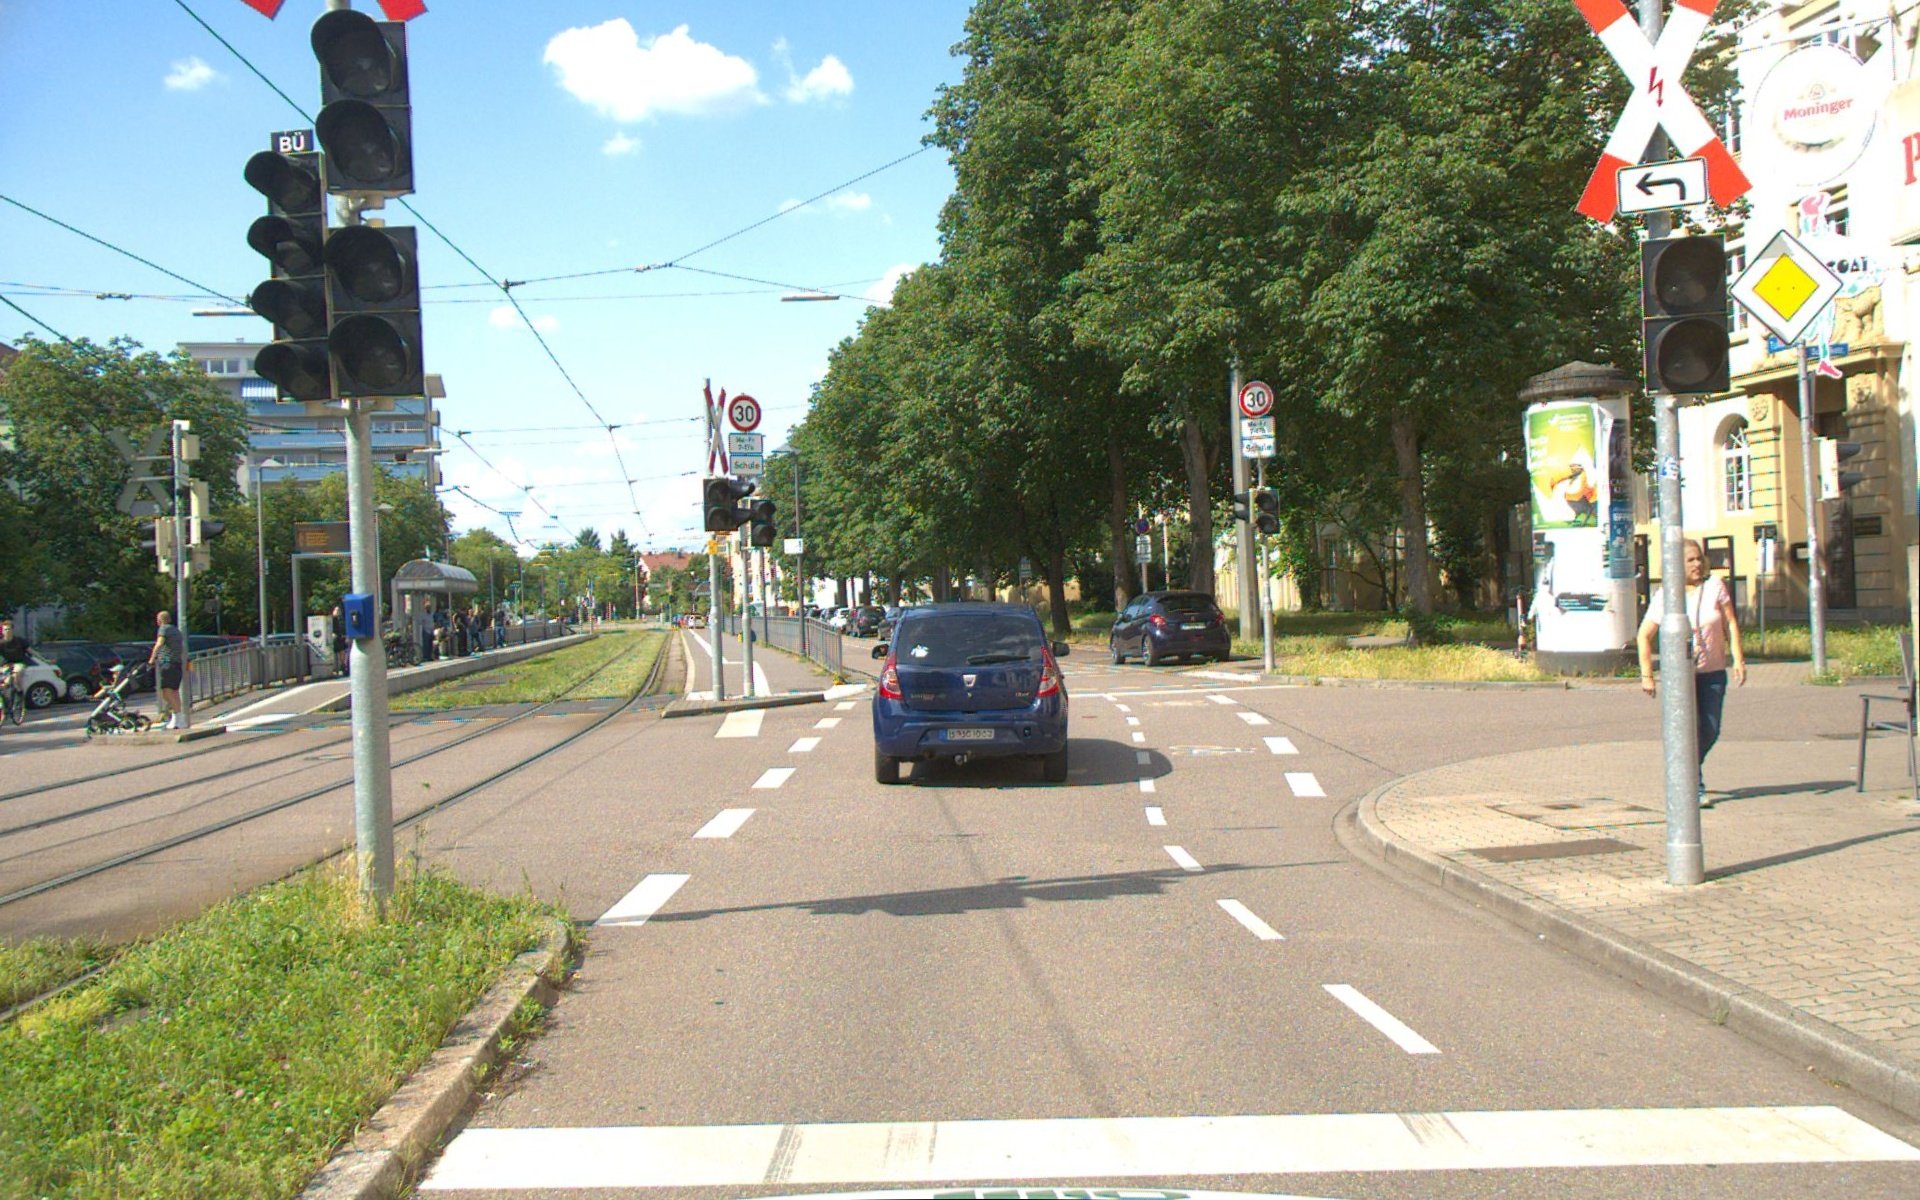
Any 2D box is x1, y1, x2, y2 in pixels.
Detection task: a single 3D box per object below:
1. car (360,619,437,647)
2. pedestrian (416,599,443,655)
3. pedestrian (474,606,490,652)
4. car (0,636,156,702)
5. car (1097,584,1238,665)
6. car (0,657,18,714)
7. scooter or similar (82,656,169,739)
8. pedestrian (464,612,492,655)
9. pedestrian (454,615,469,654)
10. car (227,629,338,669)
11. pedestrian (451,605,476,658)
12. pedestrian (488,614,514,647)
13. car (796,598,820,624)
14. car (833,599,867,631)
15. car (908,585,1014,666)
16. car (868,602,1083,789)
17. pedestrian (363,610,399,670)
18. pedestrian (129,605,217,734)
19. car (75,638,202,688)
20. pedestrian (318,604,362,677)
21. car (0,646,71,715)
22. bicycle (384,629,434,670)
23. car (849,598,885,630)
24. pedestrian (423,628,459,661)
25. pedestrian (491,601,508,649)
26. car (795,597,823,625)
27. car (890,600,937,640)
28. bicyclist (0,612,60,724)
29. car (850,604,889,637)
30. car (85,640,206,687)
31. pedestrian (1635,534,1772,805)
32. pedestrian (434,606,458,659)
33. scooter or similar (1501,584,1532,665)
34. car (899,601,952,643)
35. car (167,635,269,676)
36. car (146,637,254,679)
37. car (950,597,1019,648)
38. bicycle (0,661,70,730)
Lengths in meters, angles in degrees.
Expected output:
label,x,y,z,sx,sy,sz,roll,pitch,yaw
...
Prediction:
label,x,y,z,sx,sy,sz,roll,pitch,yaw
car,-32.116,1.870,94.681,1.606,1.410,3.986,-3,0,35
pedestrian,-16.765,0.846,52.273,0.643,1.722,0.655,-3,0,-9
pedestrian,-18.466,1.121,63.911,0.481,1.742,0.461,-3,0,-19
car,-24.293,1.863,45.022,1.659,1.482,3.979,-3,0,40
car,4.174,0.488,33.842,1.734,1.458,3.894,-3,0,-10
car,-22.916,2.001,36.505,1.516,1.258,3.370,-3,0,41
scooter or similar,-12.153,1.411,24.116,0.940,1.083,0.793,-5,0,-19
pedestrian,-16.959,1.182,58.205,0.641,1.450,0.562,-3,0,28
pedestrian,-19.271,1.323,63.954,0.481,1.477,0.461,-3,0,-19
car,-28.542,2.061,69.800,1.684,1.391,3.981,-3,0,39
pedestrian,-17.242,1.097,57.447,0.592,1.796,0.639,-3,0,0
pedestrian,-21.360,1.406,76.977,1.016,1.462,0.698,-4,1,-24
car,-11.155,0.789,121.476,1.635,1.802,3.995,-3,0,-5
car,-6.418,0.861,96.634,1.588,1.780,3.992,-3,0,-9
car,-0.036,0.431,31.086,1.667,1.392,3.511,-1,1,-5
car,0.114,0.781,15.428,1.732,1.487,3.775,-1,0,-1
pedestrian,-16.030,1.107,45.787,0.650,1.596,0.685,-4,0,-2
pedestrian,-11.706,1.016,24.633,0.856,1.806,1.000,-4,0,-12
car,-25.406,1.951,51.218,1.425,1.332,3.239,-3,0,32
pedestrian,-15.262,0.996,40.689,0.699,1.756,0.666,-3,0,33
car,-23.413,1.983,39.637,1.517,1.531,3.368,-3,0,43
bicycle,-15.204,1.348,45.668,0.672,0.991,1.771,-5,0,1
car,-4.983,0.714,88.497,1.792,1.564,3.997,-3,0,-4
pedestrian,-16.906,1.452,53.865,0.907,1.006,0.796,-4,0,-7
pedestrian,-20.424,1.105,73.371,0.650,2.049,0.800,-2,0,-15
car,-10.535,0.768,115.385,1.794,1.792,3.997,-3,0,-4
car,-2.015,0.835,70.659,1.815,1.542,3.997,-3,0,-4
bicyclist,-17.904,1.283,31.503,0.932,2.049,1.569,-3,0,-16
car,-4.556,1.007,82.944,1.825,1.470,3.997,-4,0,-4
car,-26.439,2.047,53.743,1.426,1.332,3.236,-3,0,35
pedestrian,4.817,0.441,10.759,0.658,1.677,0.764,-3,-1,19
pedestrian,-17.533,1.101,56.404,0.582,1.766,0.556,-3,0,-5
scooter or similar,8.621,0.368,25.638,0.299,1.210,1.163,-3,0,13
car,-1.393,0.845,65.900,1.825,1.470,3.997,-4,0,-4
car,-28.085,2.102,62.644,1.426,1.332,3.236,-3,0,35
car,-27.355,2.075,59.594,1.426,1.332,3.236,-3,0,35
car,0.764,0.714,54.226,1.825,1.470,3.997,-4,0,-4
bicycle,-17.861,1.814,31.533,1.135,1.198,1.780,-4,0,-16
